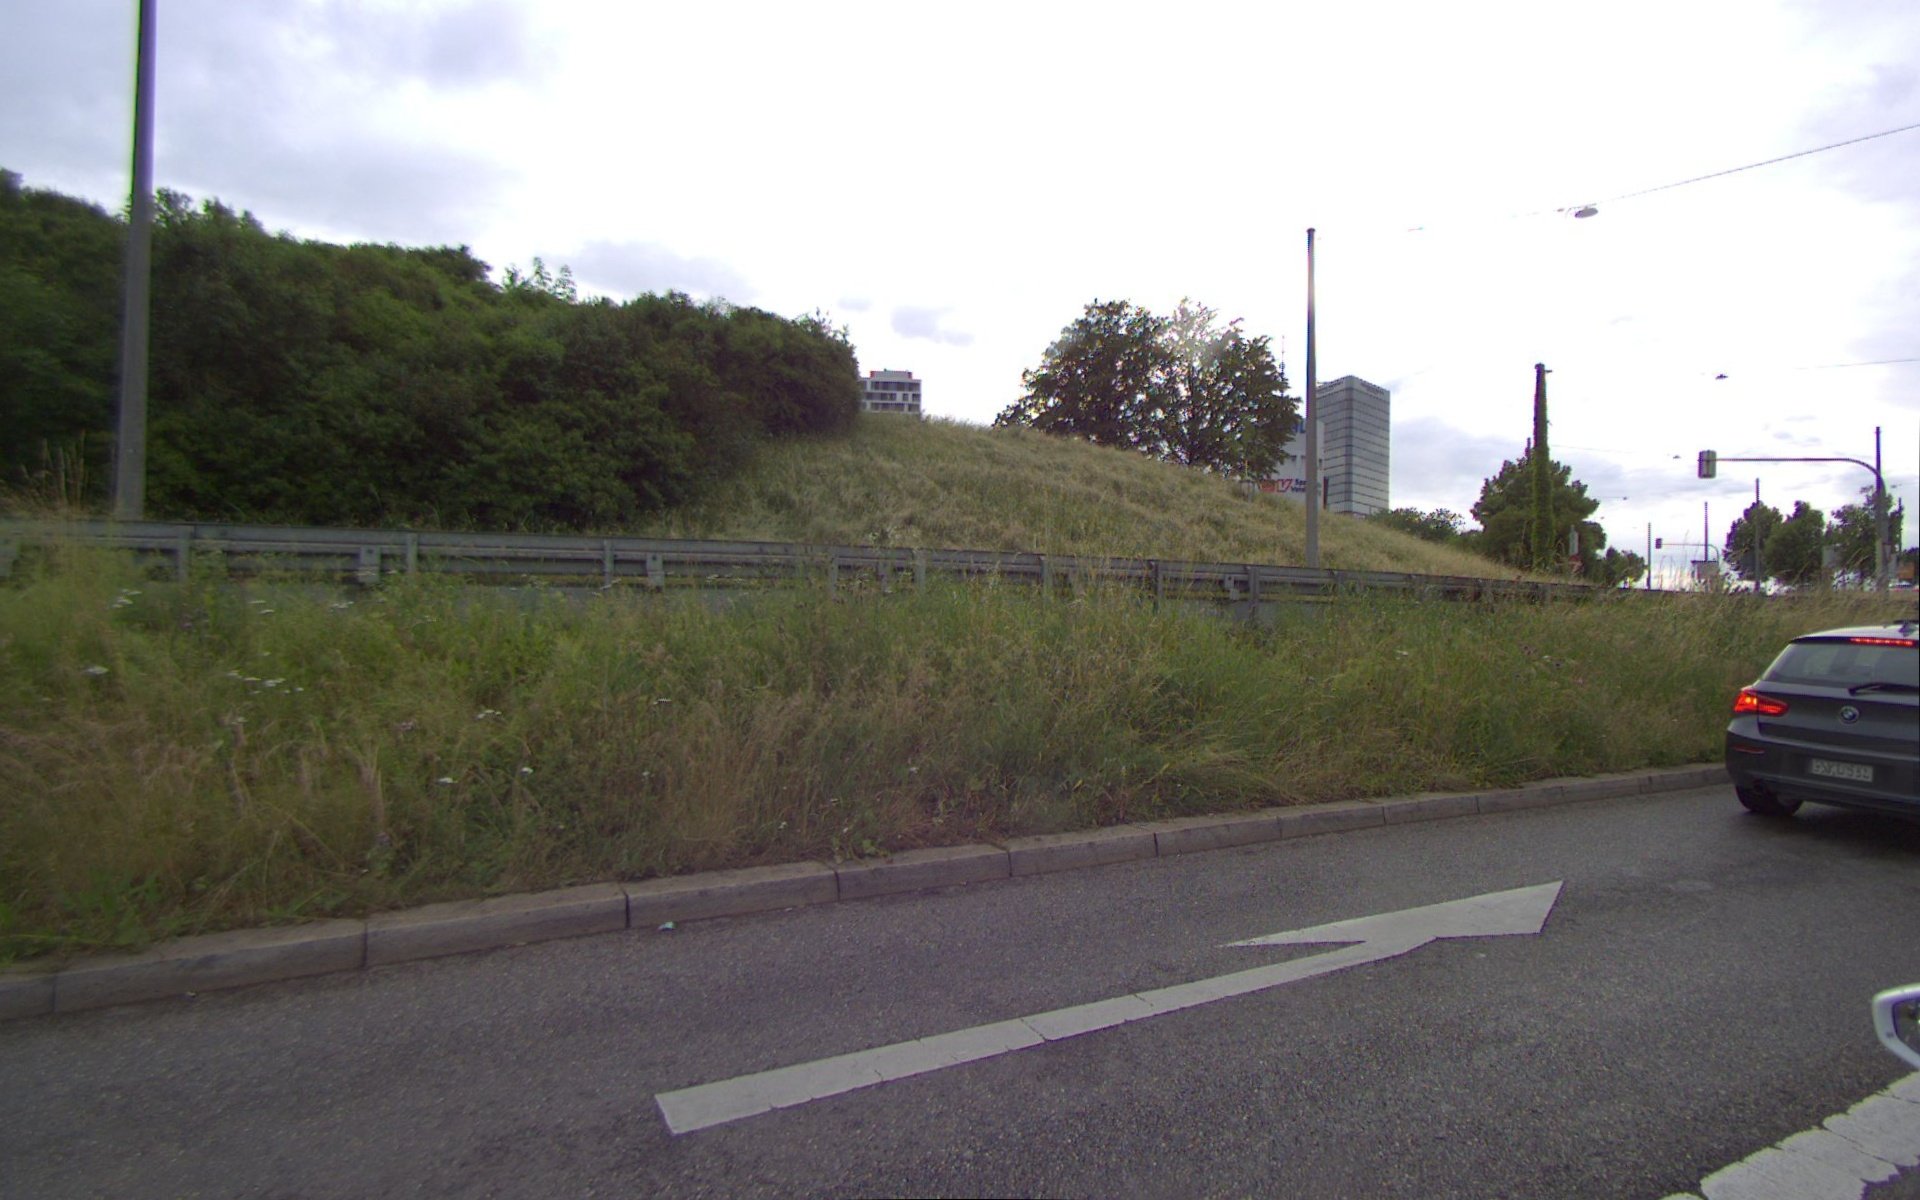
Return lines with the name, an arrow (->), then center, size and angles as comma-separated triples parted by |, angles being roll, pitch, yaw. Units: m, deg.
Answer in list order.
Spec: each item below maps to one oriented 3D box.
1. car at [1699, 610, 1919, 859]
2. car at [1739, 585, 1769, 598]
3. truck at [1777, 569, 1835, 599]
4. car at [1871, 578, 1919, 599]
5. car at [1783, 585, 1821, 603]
car -> 7.413, 0.884, 7.266 | 4.062, 1.479, 1.696 | 2, -1, -27
car -> 103.851, -1.129, 131.441 | 1.962, 1.682, 4.540 | 2, 1, 25
truck -> 95.748, -1.810, 113.794 | 3.206, 3.116, 6.171 | 4, 3, 23
car -> 83.463, -0.986, 89.624 | 1.962, 1.681, 4.541 | 2, -1, 25
car -> 89.257, -0.628, 106.493 | 1.962, 1.681, 4.350 | 2, -1, 25
